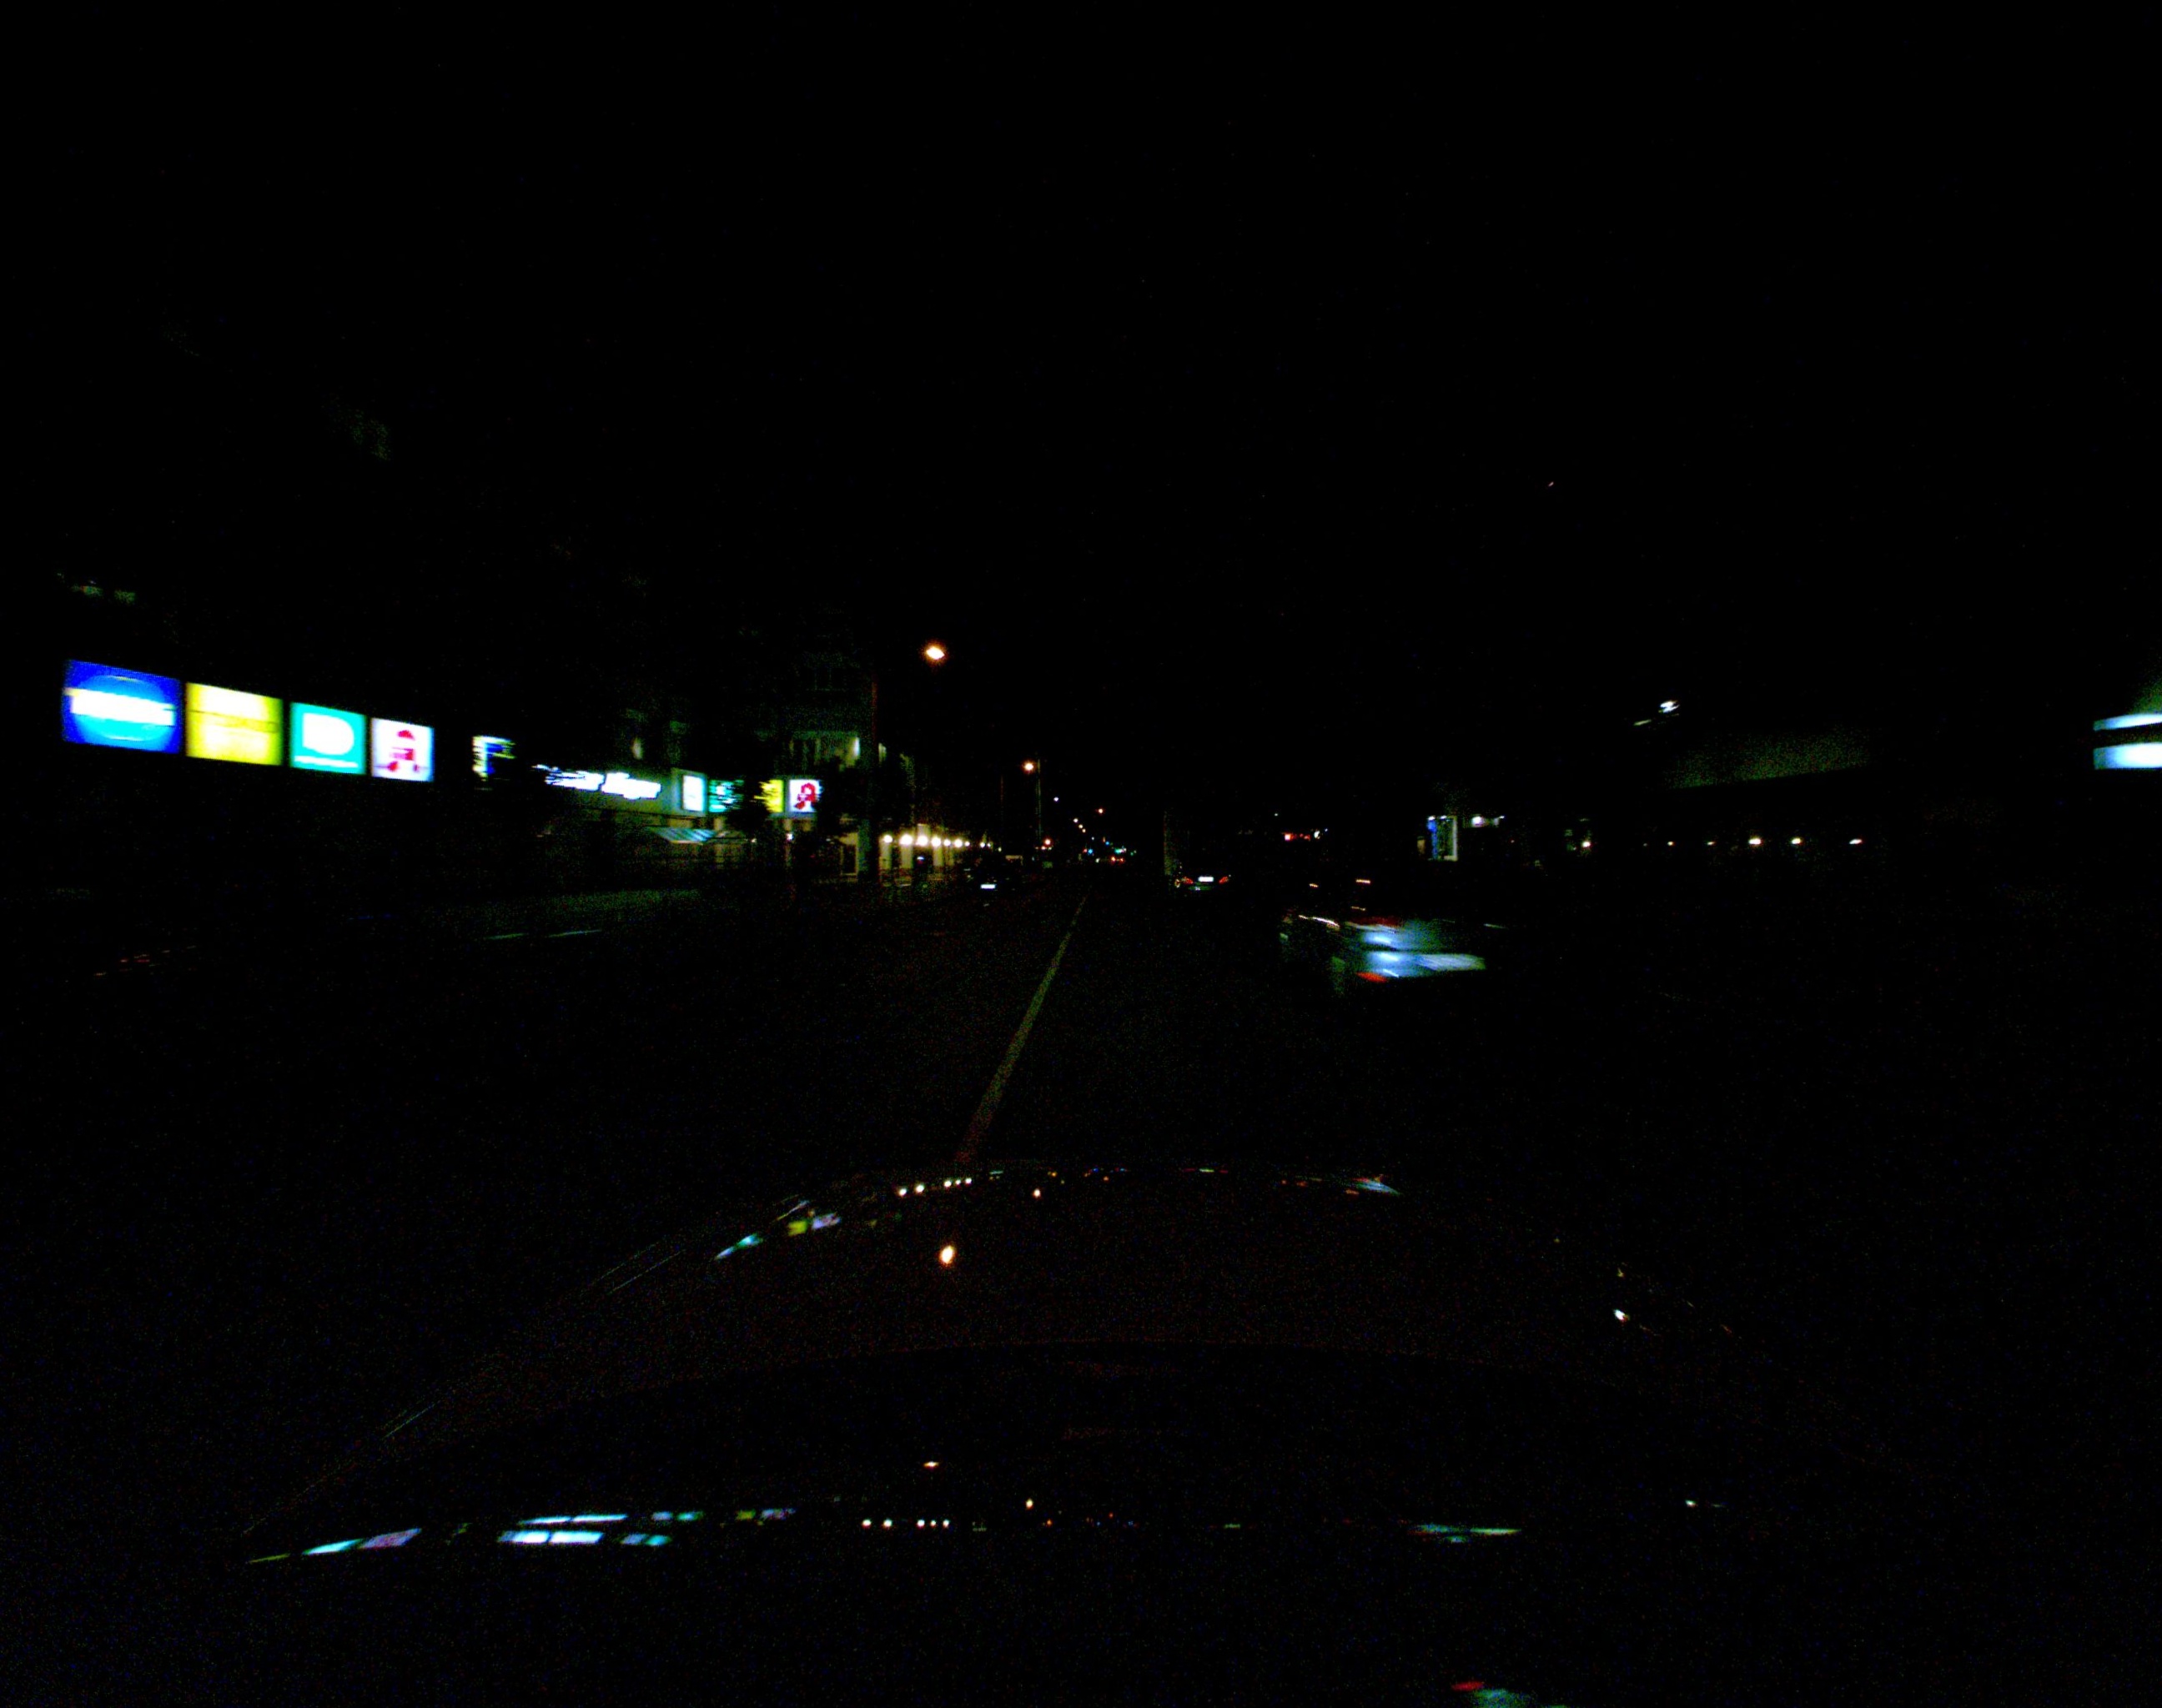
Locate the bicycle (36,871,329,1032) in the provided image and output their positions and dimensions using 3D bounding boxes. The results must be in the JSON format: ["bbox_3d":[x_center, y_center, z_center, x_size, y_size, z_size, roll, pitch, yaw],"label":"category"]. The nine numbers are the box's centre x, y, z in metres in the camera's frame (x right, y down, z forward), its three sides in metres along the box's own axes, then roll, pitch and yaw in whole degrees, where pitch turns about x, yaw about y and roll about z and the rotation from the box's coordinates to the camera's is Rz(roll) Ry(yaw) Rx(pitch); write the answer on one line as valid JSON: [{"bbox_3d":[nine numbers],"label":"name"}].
[{"bbox_3d":[-7.410,0.783,6.755,1.844,1.254,0.533,-1,0,1],"label":"bicycle"}]

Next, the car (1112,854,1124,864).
[{"bbox_3d":[6.771,0.931,148.929,1.986,1.643,4.001,-1,0,1],"label":"car"}]

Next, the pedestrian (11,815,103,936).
[{"bbox_3d":[-14.298,0.293,11.383,0.476,1.636,0.632,-1,0,2],"label":"pedestrian"}]

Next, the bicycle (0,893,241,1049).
[{"bbox_3d":[-7.421,0.837,6.026,1.844,1.035,0.533,1,0,1],"label":"bicycle"}]

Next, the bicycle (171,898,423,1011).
[{"bbox_3d":[-7.206,0.910,7.520,1.844,0.968,0.501,-1,0,1],"label":"bicycle"}]

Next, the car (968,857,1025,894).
[{"bbox_3d":[-3.492,0.845,34.288,1.734,1.413,4.498,1,0,2],"label":"car"}]

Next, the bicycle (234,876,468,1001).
[{"bbox_3d":[-7.206,0.818,8.077,1.844,1.166,0.533,-1,0,1],"label":"bicycle"}]

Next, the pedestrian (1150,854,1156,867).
[{"bbox_3d":[9.660,0.867,109.701,0.700,1.818,1.082,-1,0,2],"label":"pedestrian"}]

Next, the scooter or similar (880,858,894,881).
[{"bbox_3d":[-10.806,0.849,45.363,0.385,1.221,1.345,-1,0,4],"label":"scooter or similar"}]

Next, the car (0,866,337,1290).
[{"bbox_3d":[-4.667,0.797,2.096,1.715,1.428,3.978,2,0,2],"label":"car"}]

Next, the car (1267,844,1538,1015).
[{"bbox_3d":[3.416,0.700,9.500,1.683,1.537,4.018,-1,0,2],"label":"car"}]

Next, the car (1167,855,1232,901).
[{"bbox_3d":[4.008,0.758,28.204,1.757,1.414,4.810,-1,0,2],"label":"car"}]

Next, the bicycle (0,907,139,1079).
[{"bbox_3d":[-7.367,0.862,5.294,1.844,1.000,0.533,1,0,1],"label":"bicycle"}]
